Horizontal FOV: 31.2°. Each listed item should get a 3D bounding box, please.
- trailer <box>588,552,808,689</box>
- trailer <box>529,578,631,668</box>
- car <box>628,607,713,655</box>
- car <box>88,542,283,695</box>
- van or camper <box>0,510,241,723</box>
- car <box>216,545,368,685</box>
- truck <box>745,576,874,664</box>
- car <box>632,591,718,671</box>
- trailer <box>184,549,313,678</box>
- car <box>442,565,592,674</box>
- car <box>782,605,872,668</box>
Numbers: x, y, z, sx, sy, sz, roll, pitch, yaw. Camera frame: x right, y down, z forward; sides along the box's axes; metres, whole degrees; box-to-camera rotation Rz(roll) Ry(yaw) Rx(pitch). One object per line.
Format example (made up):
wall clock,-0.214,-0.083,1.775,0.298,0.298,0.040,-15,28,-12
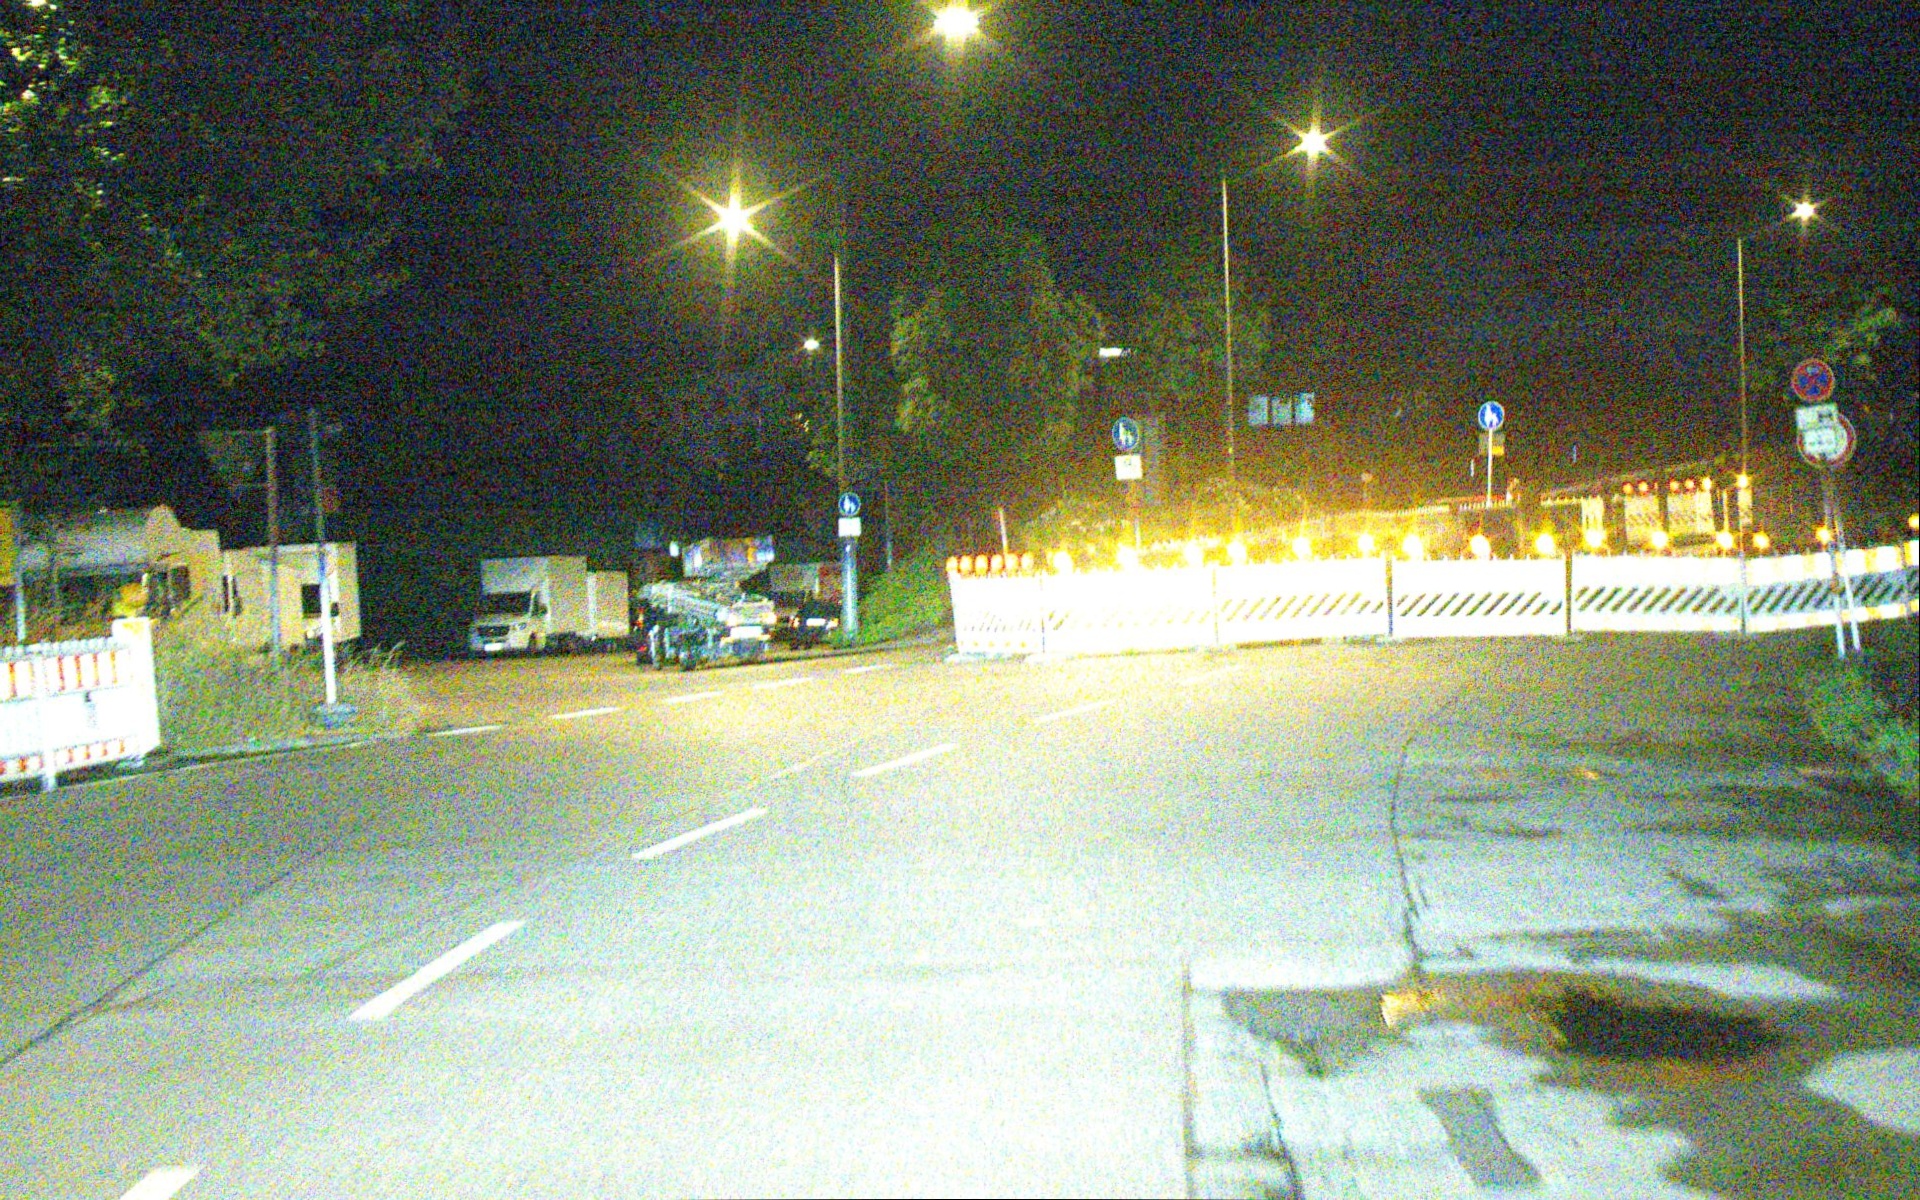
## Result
trailer,-4.647,0.392,60.185,1.559,2.153,5.221,-4,0,-31
trailer,-12.800,0.745,116.012,1.994,2.803,4.701,-2,1,11
car,-10.707,1.141,127.568,1.994,1.694,4.204,-2,-1,12
car,-14.706,0.338,65.726,2.519,2.597,7.092,-4,0,-5
van or camper,-13.757,0.247,56.239,2.519,3.084,7.446,-4,0,-2
car,-15.346,0.342,79.392,2.518,2.917,7.202,-4,0,-5
truck,-6.236,0.778,144.086,1.995,3.392,8.970,-1,1,20
car,-6.178,0.673,74.818,1.720,1.655,4.000,-1,-1,-3
trailer,-14.932,0.262,72.335,1.993,2.519,3.568,-4,0,-3
car,-14.044,0.569,109.574,2.520,3.160,7.135,-4,0,10
car,-3.979,1.082,103.458,1.721,1.815,3.998,-1,-1,12
